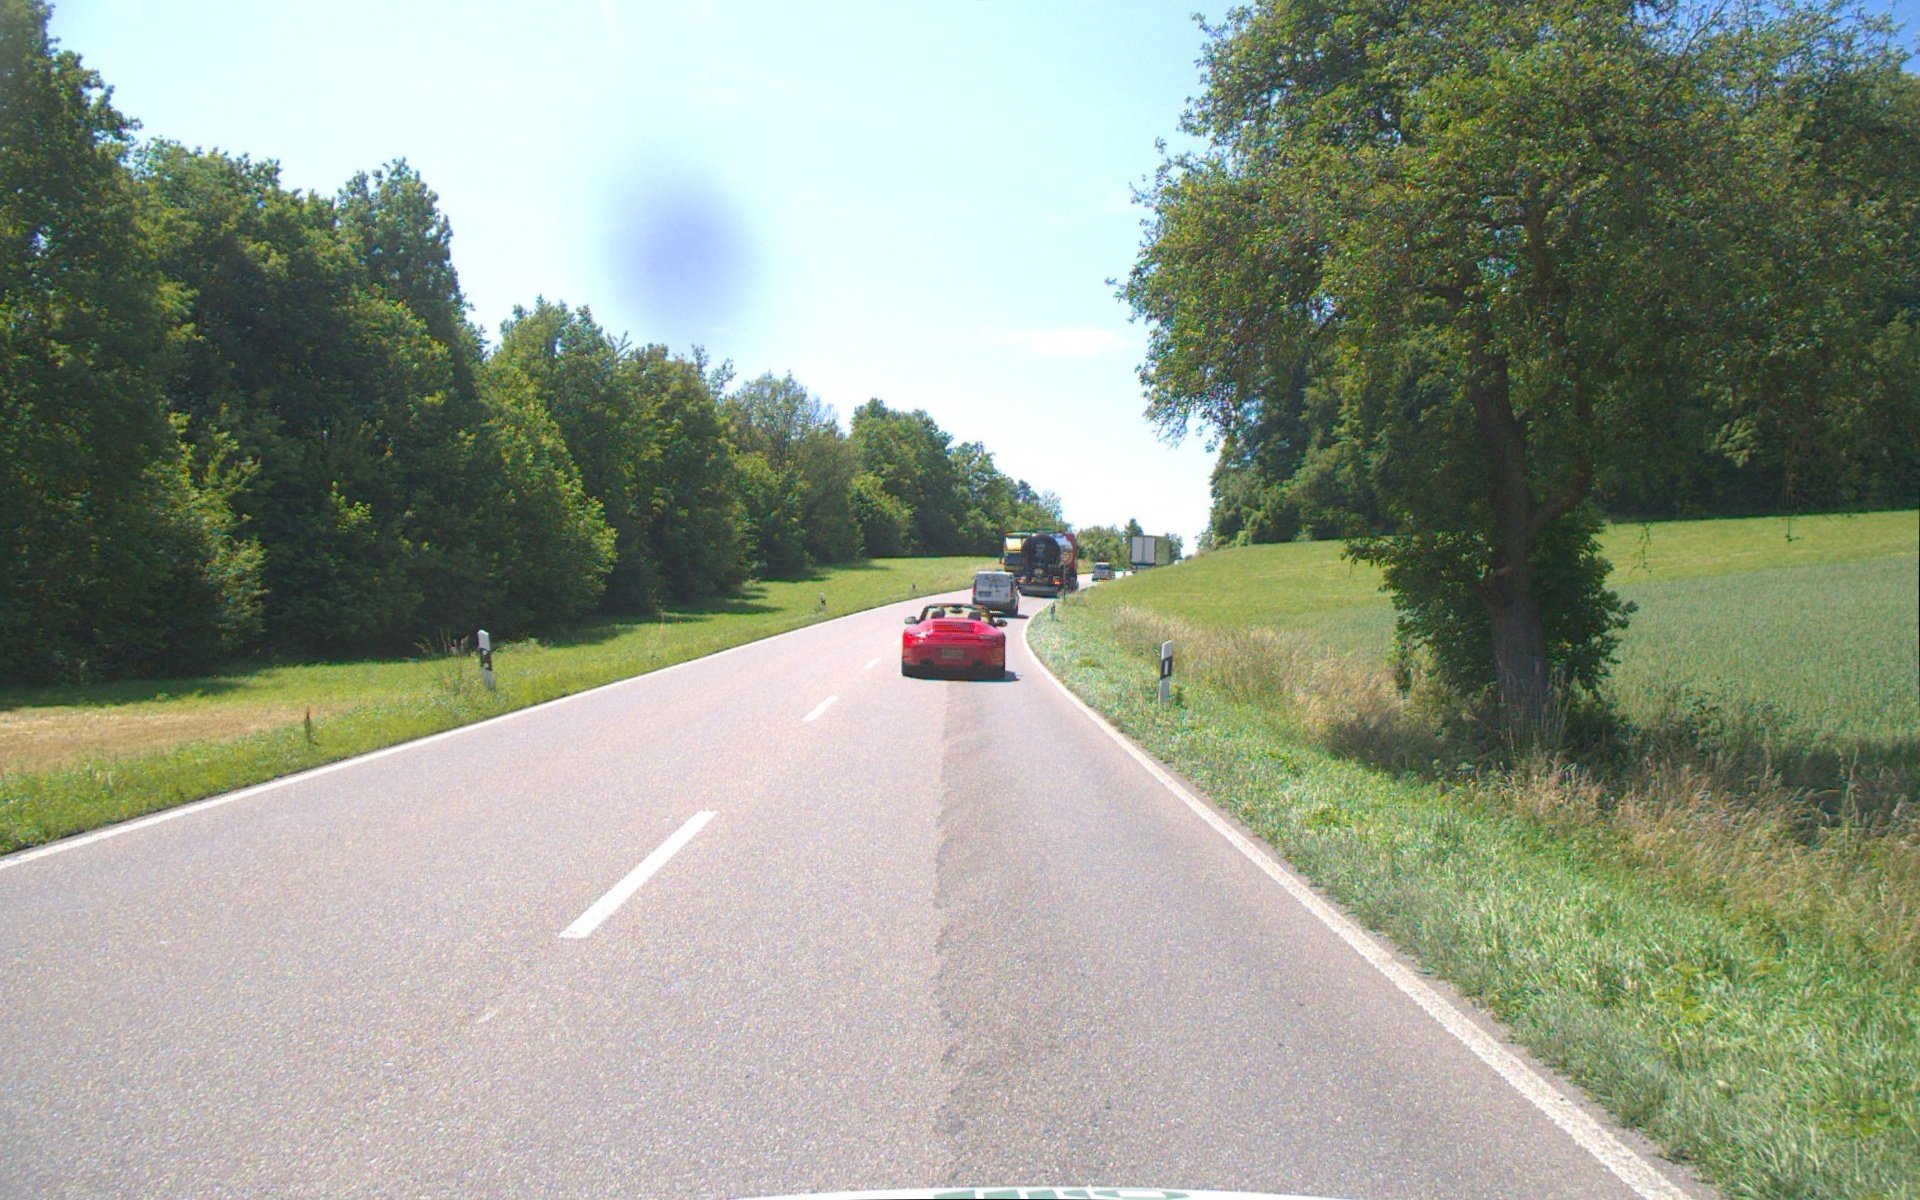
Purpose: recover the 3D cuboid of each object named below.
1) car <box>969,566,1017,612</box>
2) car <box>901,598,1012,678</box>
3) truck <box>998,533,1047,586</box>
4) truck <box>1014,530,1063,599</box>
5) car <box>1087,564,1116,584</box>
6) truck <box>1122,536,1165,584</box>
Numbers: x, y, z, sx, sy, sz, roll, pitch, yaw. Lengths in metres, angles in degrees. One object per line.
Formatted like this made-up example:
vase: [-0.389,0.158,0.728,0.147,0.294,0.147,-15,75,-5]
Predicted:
car: [1.481,-0.461,72.679,1.643,1.934,4.012,1,0,7]
car: [-0.109,0.640,30.018,1.844,1.277,4.008,2,0,-1]
truck: [4.757,-3.017,124.319,2.672,3.755,8.553,2,1,8]
truck: [5.133,-2.300,106.307,2.353,4.120,12.560,2,2,6]
car: [11.995,-2.213,140.210,1.792,1.540,4.195,1,2,13]
truck: [19.193,-4.211,172.312,3.646,4.741,12.043,1,2,10]
